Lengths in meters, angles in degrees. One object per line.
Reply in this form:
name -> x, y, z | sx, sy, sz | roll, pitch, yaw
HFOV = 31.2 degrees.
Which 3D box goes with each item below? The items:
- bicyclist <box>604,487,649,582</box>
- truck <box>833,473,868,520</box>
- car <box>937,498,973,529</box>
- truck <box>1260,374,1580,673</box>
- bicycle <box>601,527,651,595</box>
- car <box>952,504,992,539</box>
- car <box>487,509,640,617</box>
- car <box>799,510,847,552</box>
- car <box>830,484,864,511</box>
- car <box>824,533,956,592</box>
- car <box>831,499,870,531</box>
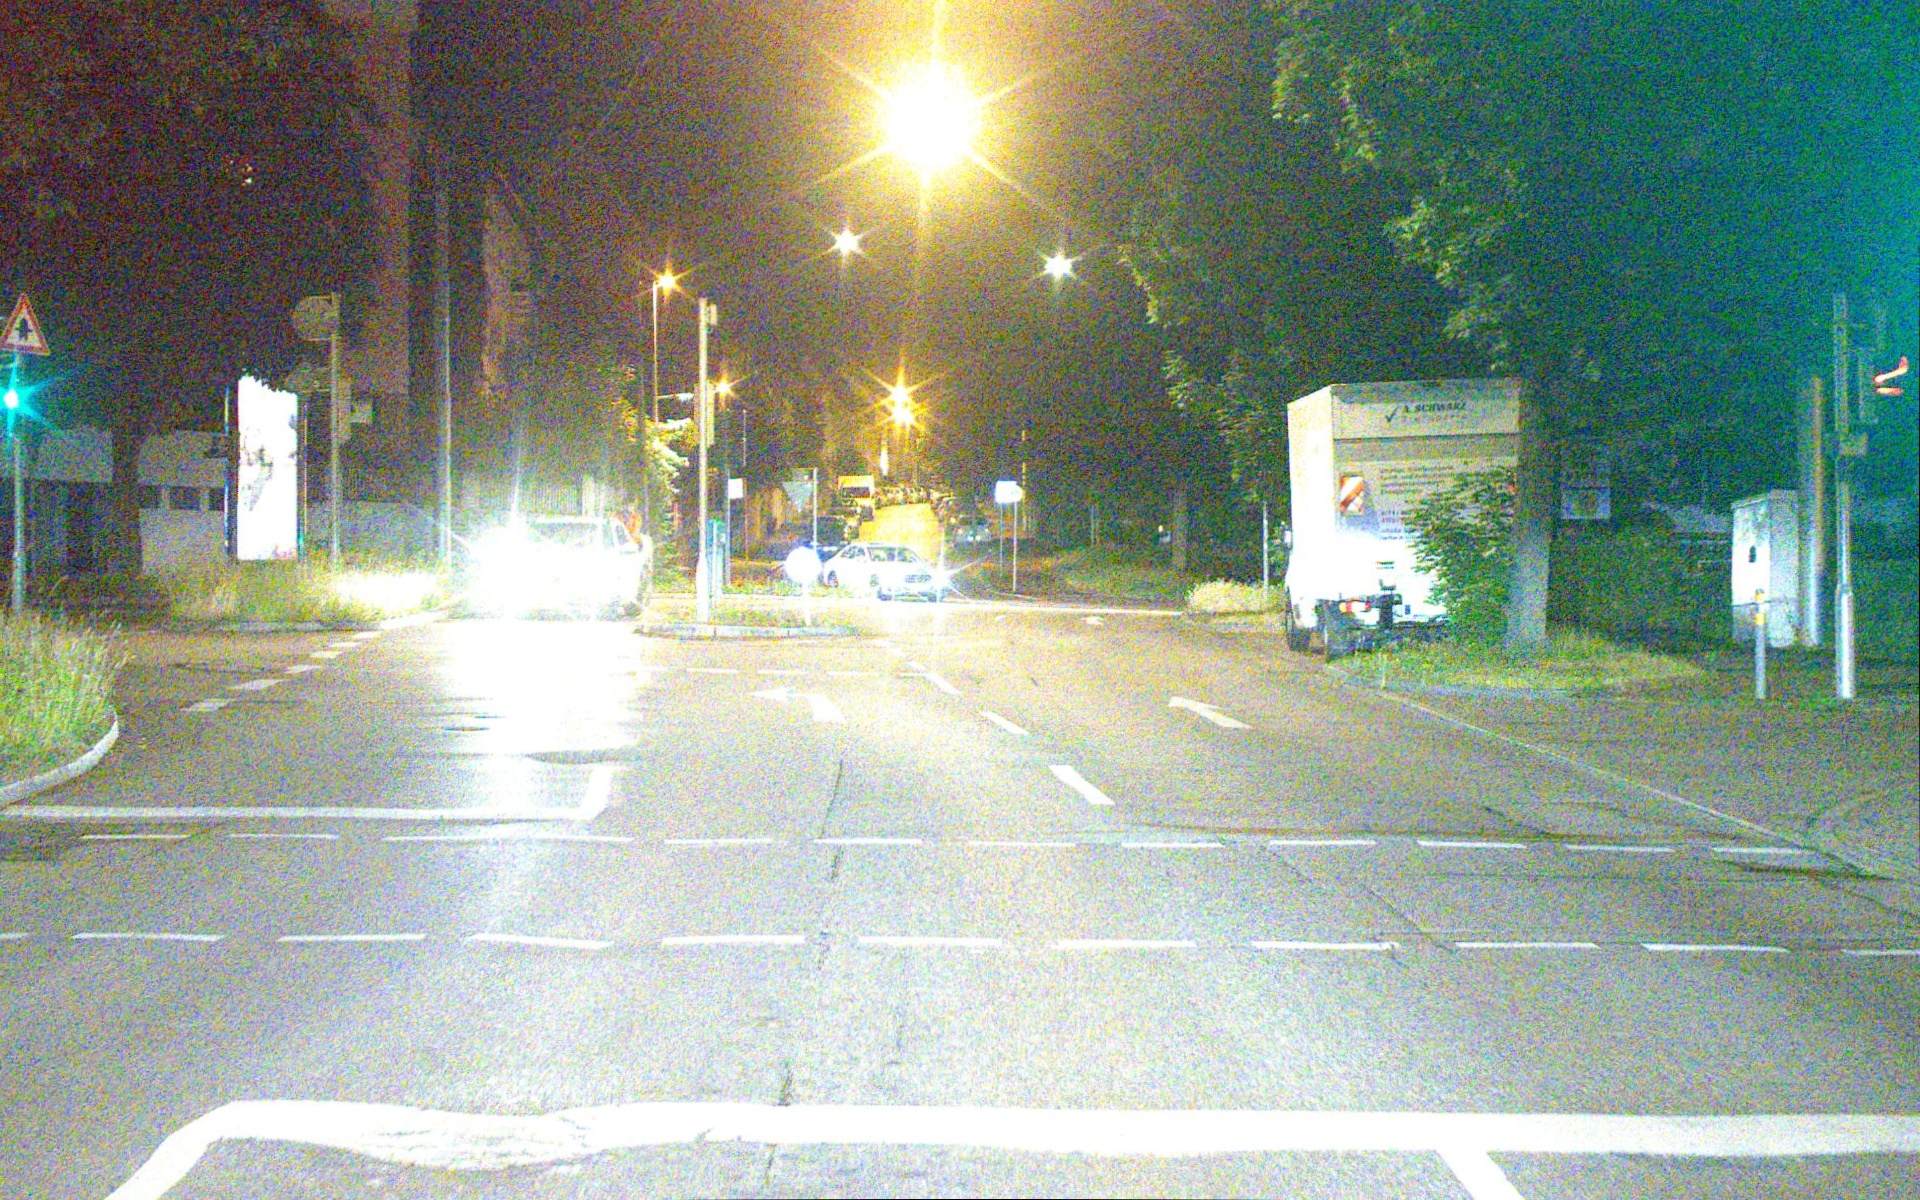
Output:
bicyclist -> -5.780, -1.138, 59.654 | 0.690, 1.631, 0.896 | 1, 1, -1
truck -> -6.818, -6.451, 214.320 | 2.086, 2.838, 5.832 | 1, 1, -2
car -> -0.231, -4.113, 164.044 | 1.634, 1.447, 3.485 | 1, 1, -1
truck -> 5.115, -0.877, 39.322 | 2.749, 3.100, 6.259 | 1, 1, 0
bicycle -> -5.791, -0.686, 59.741 | 0.696, 1.145, 1.951 | 1, 1, -1
car -> 0.517, -3.395, 148.136 | 1.634, 1.447, 3.485 | 1, 1, -1
car -> -5.883, -0.579, 51.407 | 1.857, 1.529, 4.028 | 1, 1, -1
car -> -5.525, -2.805, 139.357 | 1.815, 1.678, 4.000 | 1, 1, -1
car -> -6.334, -5.721, 191.959 | 1.815, 1.486, 4.001 | 1, 1, -2
car -> -1.824, -0.973, 87.904 | 1.916, 1.384, 4.584 | 0, 1, -21
car -> -5.268, -4.107, 165.329 | 1.815, 1.486, 4.001 | 1, 1, -2
